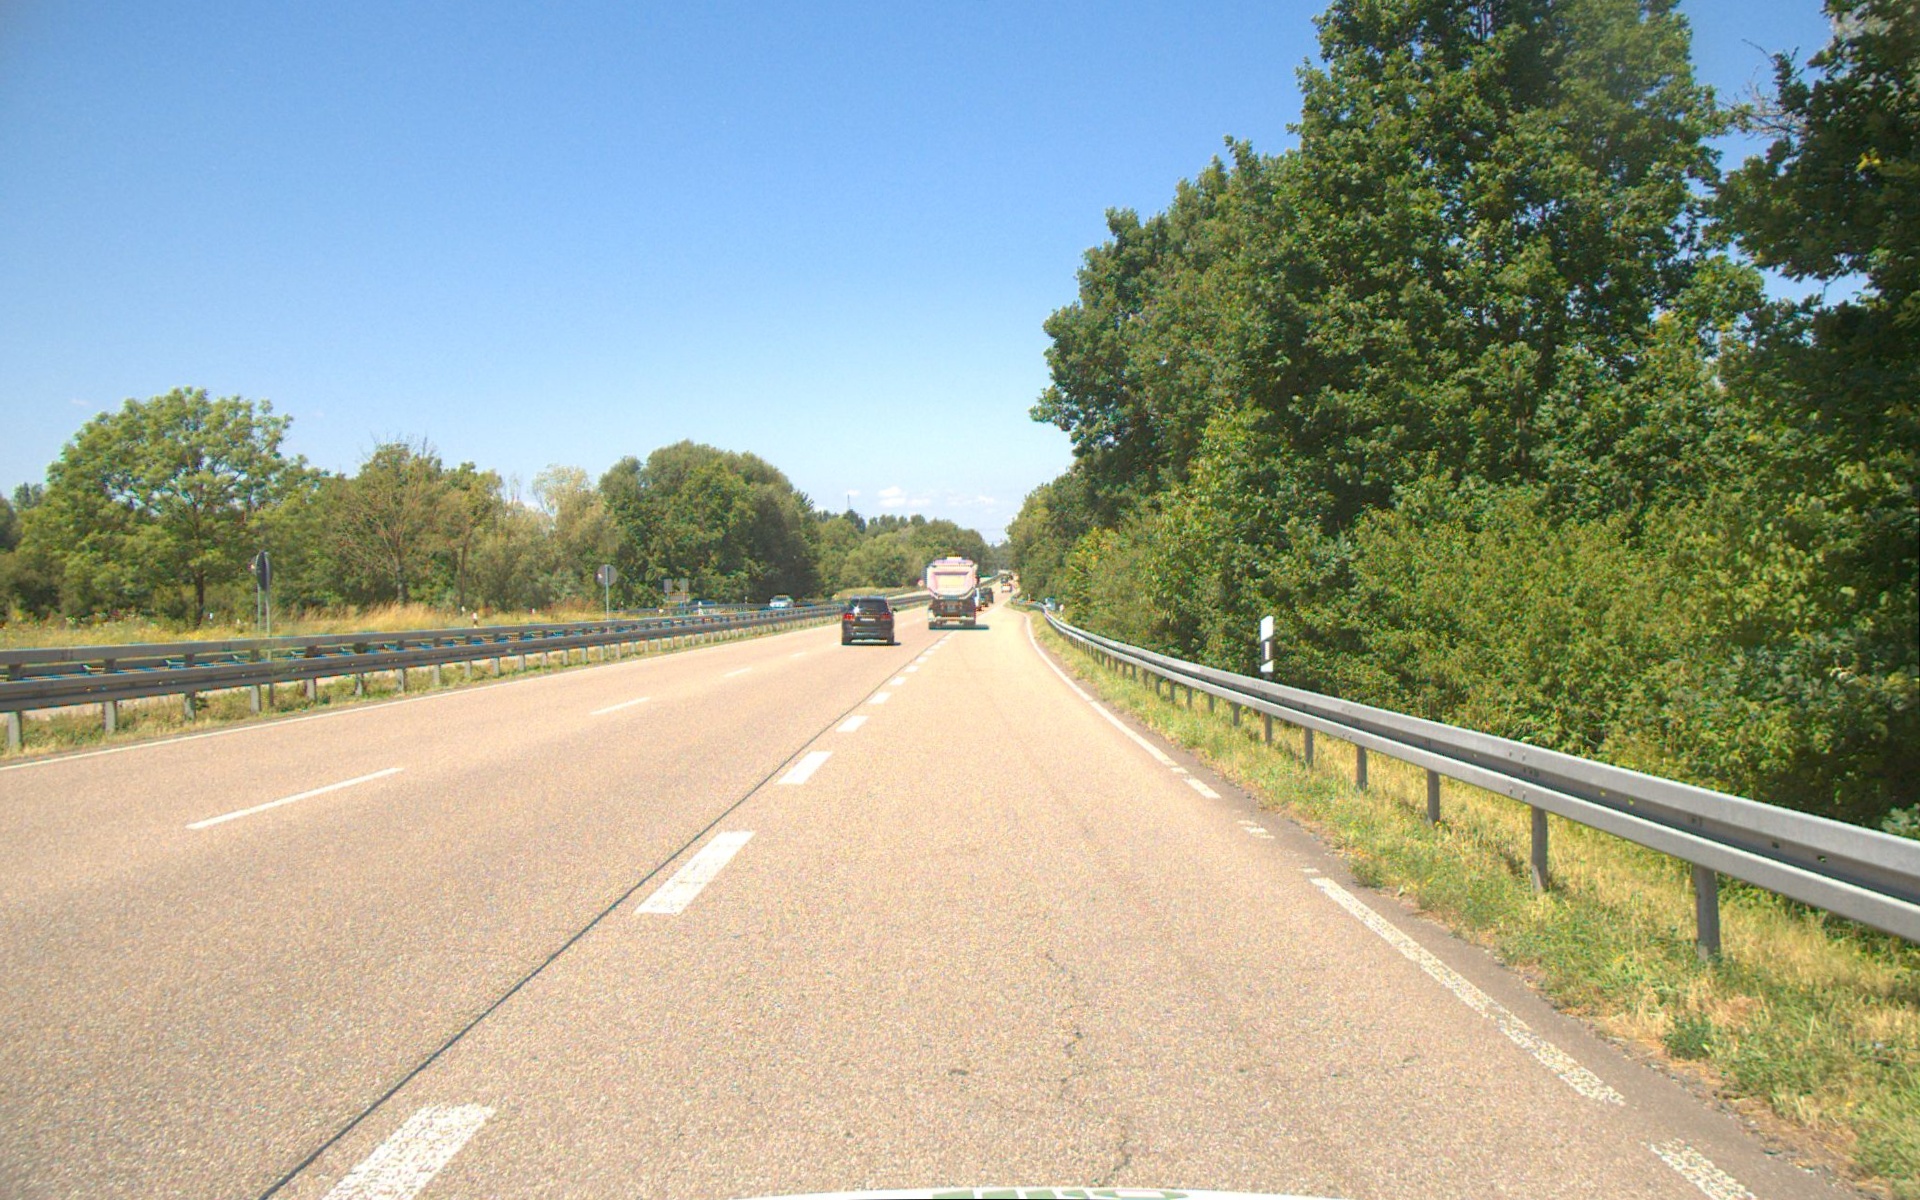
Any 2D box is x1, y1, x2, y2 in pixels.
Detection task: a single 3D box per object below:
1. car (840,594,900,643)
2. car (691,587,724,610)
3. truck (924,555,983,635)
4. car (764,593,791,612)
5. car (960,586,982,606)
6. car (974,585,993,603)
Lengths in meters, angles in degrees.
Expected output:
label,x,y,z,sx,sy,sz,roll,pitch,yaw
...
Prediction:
label,x,y,z,sx,sy,sz,roll,pitch,yaw
car,-3.225,0.663,60.189,1.819,1.700,4.001,0,0,2
car,-17.614,-0.094,115.573,1.880,1.515,3.997,0,0,-3
truck,-0.249,-0.399,89.799,2.663,3.998,12.375,-1,1,2
car,-16.693,0.220,151.380,1.688,1.673,4.944,0,0,2
car,0.983,-0.321,146.728,1.819,1.700,4.001,0,0,2
car,2.362,-0.600,168.150,1.819,1.700,4.001,0,0,2
